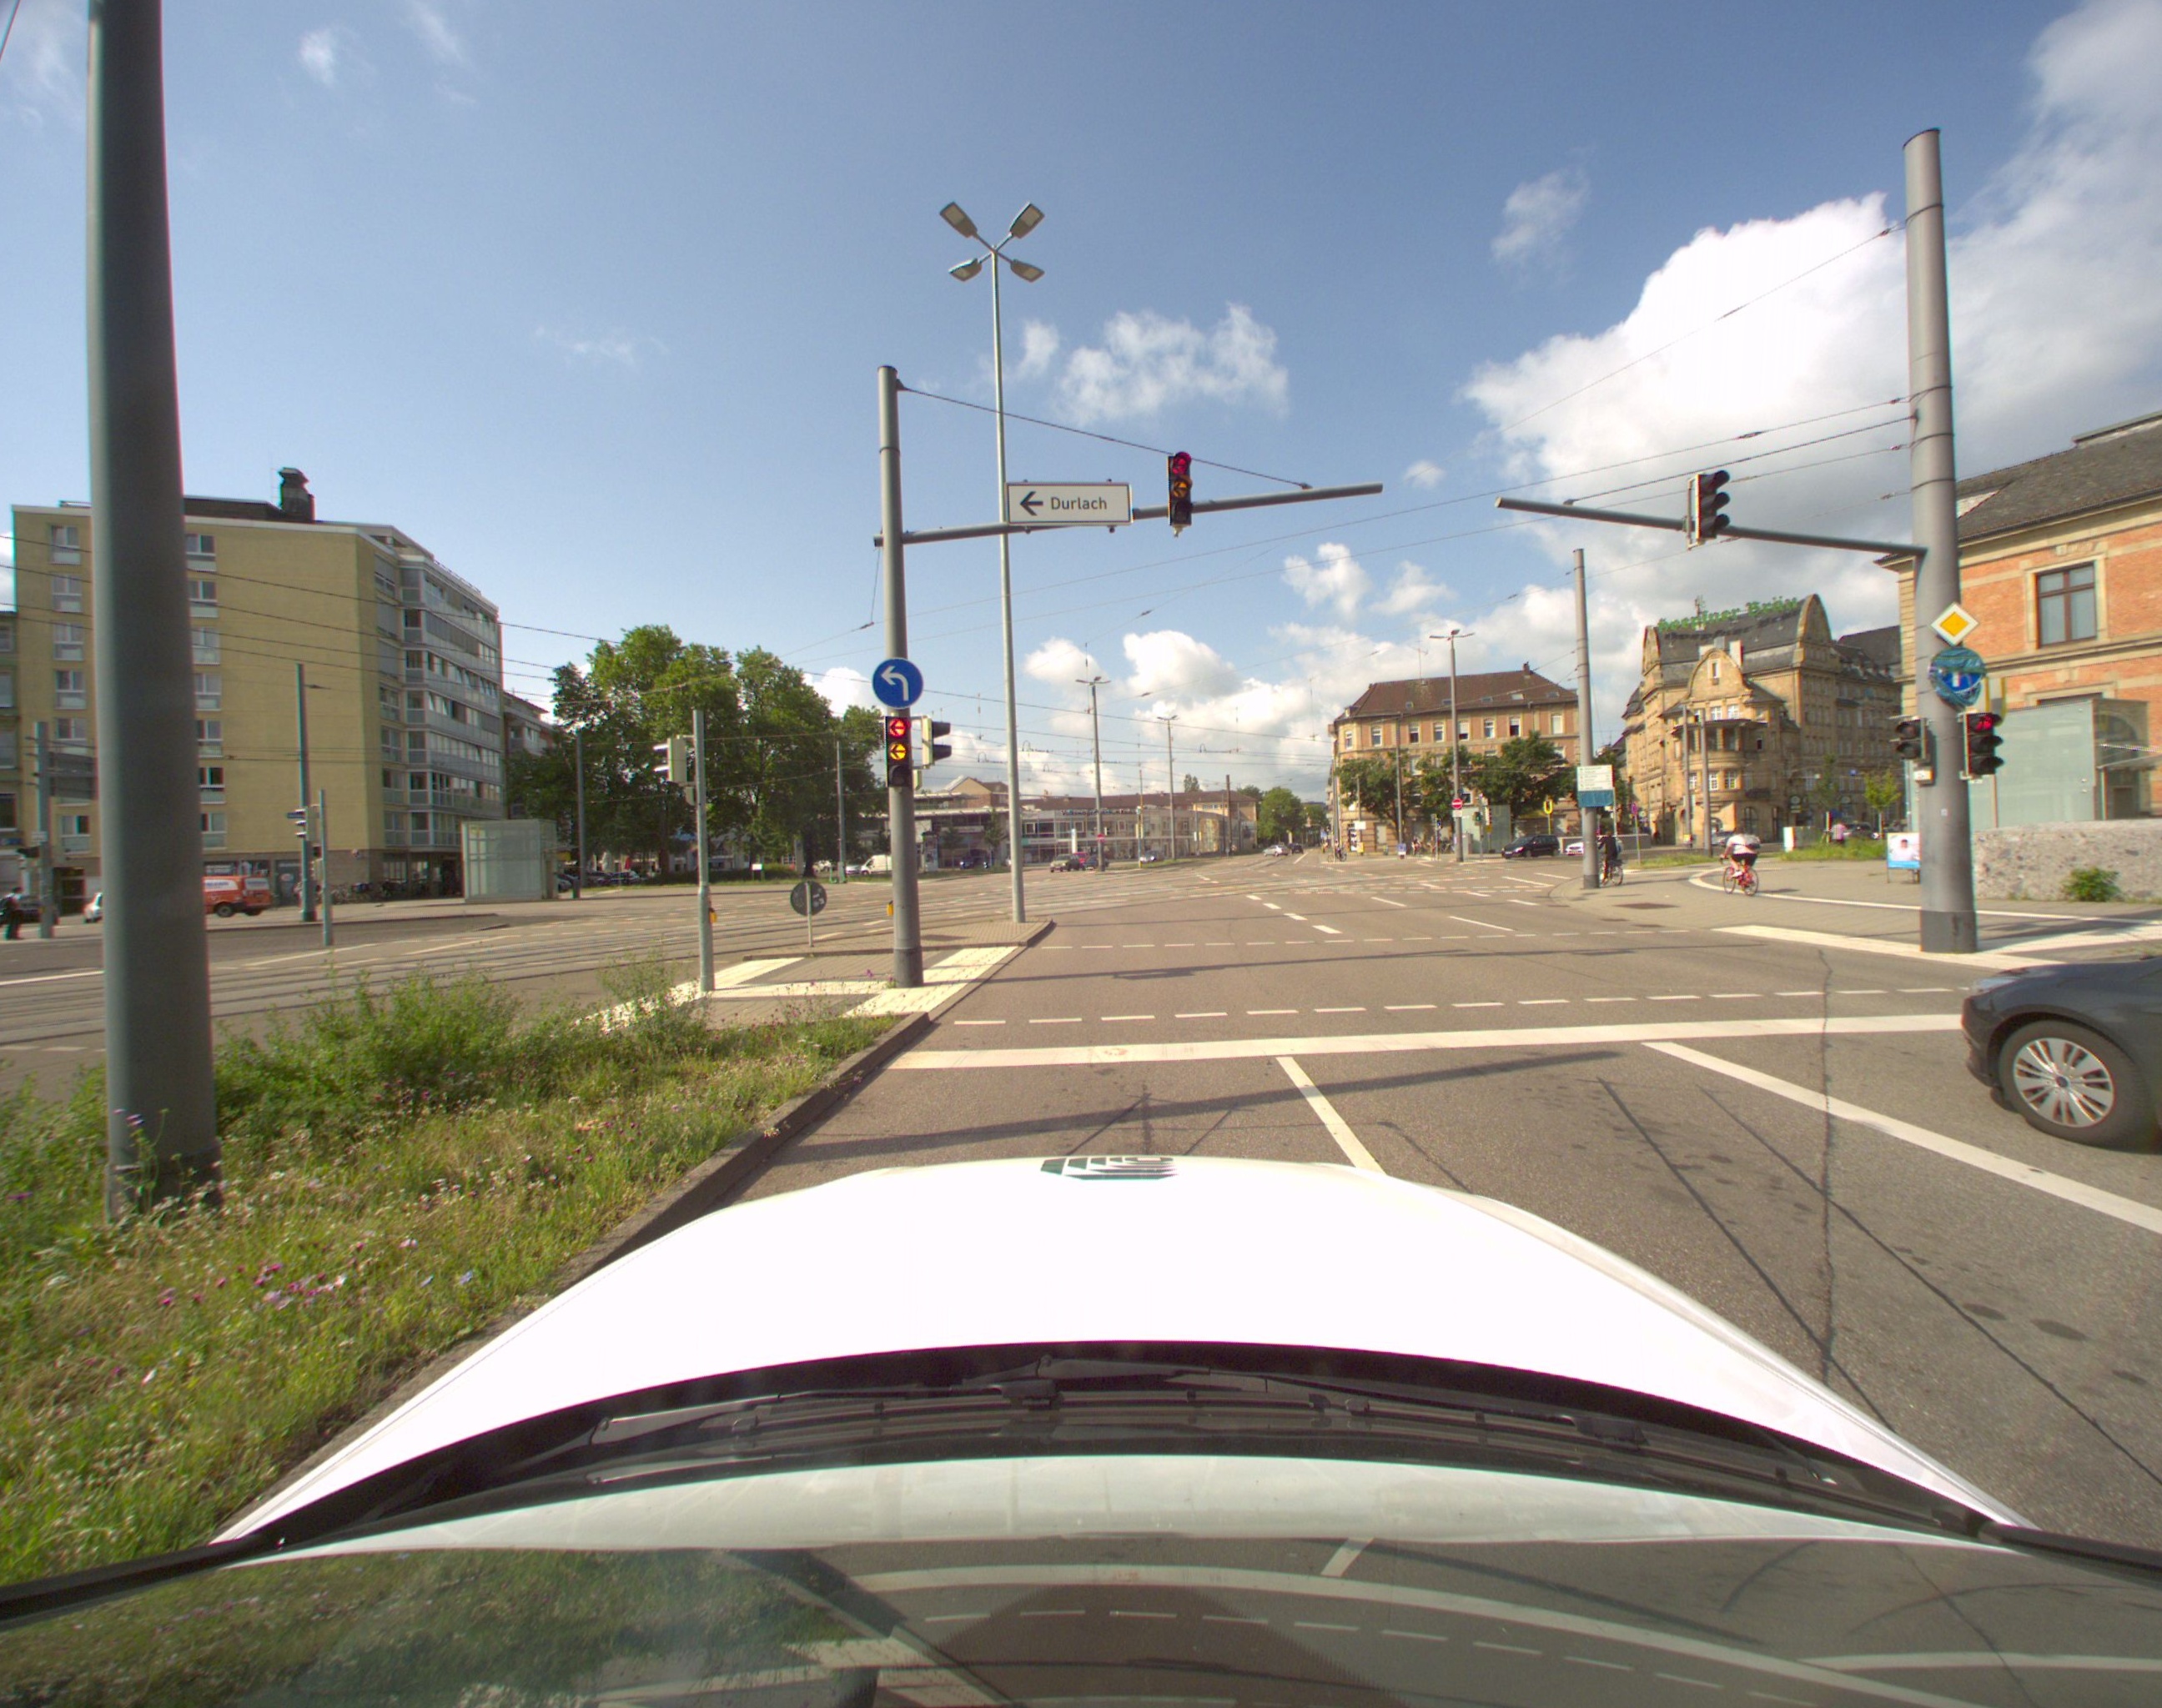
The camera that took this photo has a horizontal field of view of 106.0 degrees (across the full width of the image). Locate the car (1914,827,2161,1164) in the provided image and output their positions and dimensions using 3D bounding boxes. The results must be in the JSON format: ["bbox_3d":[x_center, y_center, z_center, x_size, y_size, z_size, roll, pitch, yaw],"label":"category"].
[{"bbox_3d":[5.771,0.669,2.695,1.760,1.528,4.257,2,0,2],"label":"car"}]

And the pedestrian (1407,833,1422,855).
[{"bbox_3d":[28.121,-0.814,68.690,0.865,1.810,0.884,0,-1,-10],"label":"pedestrian"}]

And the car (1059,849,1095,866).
[{"bbox_3d":[-0.295,0.316,71.768,1.978,1.519,4.018,-1,-1,18],"label":"car"}]

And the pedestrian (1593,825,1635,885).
[{"bbox_3d":[16.801,0.026,25.691,0.983,1.841,1.002,-1,-1,27],"label":"pedestrian"}]

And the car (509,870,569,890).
[{"bbox_3d":[-43.333,2.090,65.200,3.570,1.530,1.989,0,-1,-16],"label":"car"}]

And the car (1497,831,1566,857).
[{"bbox_3d":[30.951,-0.661,55.972,4.348,1.739,1.983,0,-1,-26],"label":"car"}]

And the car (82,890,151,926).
[{"bbox_3d":[-46.592,2.579,39.343,3.467,1.440,1.730,2,-1,34],"label":"car"}]

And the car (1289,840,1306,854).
[{"bbox_3d":[33.059,-1.047,124.341,1.977,2.013,4.020,-2,0,20],"label":"car"}]

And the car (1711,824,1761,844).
[{"bbox_3d":[57.503,-1.750,71.491,4.006,1.600,1.740,-2,0,-25],"label":"car"}]

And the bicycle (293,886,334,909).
[{"bbox_3d":[-45.207,2.571,47.986,1.643,1.272,0.528,3,-2,-17],"label":"bicycle"}]

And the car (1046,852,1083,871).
[{"bbox_3d":[-1.312,0.628,66.247,1.806,1.513,4.018,-1,-1,18],"label":"car"}]

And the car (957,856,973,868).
[{"bbox_3d":[-14.703,0.994,103.053,1.918,1.445,3.989,-2,0,-8],"label":"car"}]

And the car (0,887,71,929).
[{"bbox_3d":[-49.330,2.471,38.214,5.000,1.468,1.903,4,0,33],"label":"car"}]

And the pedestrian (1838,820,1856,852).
[{"bbox_3d":[37.482,-0.877,39.865,0.501,1.505,0.501,-2,0,-33],"label":"pedestrian"}]

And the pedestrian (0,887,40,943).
[{"bbox_3d":[-34.388,1.940,26.144,0.794,1.673,0.840,3,1,-17],"label":"pedestrian"}]

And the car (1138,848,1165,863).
[{"bbox_3d":[8.086,0.133,93.237,1.976,1.552,4.021,-2,0,21],"label":"car"}]

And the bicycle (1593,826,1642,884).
[{"bbox_3d":[16.833,0.030,25.619,0.996,1.725,2.483,-1,-1,27],"label":"bicycle"}]

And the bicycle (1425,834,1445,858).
[{"bbox_3d":[26.954,-0.593,62.066,0.727,1.777,1.636,-2,0,-2],"label":"bicycle"}]

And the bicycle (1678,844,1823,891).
[{"bbox_3d":[16.043,0.362,19.678,0.989,1.028,3.109,1,-2,1],"label":"bicycle"}]

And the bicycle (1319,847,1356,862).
[{"bbox_3d":[20.868,0.049,66.335,2.664,1.170,0.900,-2,0,-1],"label":"bicycle"}]

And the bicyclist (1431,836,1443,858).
[{"bbox_3d":[26.950,-0.534,61.715,0.571,1.671,0.656,-2,0,-2],"label":"bicyclist"}]

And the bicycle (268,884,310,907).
[{"bbox_3d":[-46.717,2.453,48.040,1.643,1.272,0.485,3,-2,-17],"label":"bicycle"}]

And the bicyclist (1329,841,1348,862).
[{"bbox_3d":[20.955,-0.192,66.328,1.190,1.658,0.785,-2,0,-1],"label":"bicyclist"}]

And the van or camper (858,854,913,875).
[{"bbox_3d":[-23.084,1.215,96.479,5.848,2.469,2.396,0,-1,5],"label":"van or camper"}]

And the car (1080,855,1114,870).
[{"bbox_3d":[1.334,0.668,65.781,1.608,1.161,4.018,-1,-1,18],"label":"car"}]

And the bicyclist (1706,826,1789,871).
[{"bbox_3d":[16.045,-0.114,19.647,0.987,1.028,1.215,1,-3,1],"label":"bicyclist"}]

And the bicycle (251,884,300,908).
[{"bbox_3d":[-46.882,2.449,47.422,1.892,1.272,0.484,4,0,-24],"label":"bicycle"}]

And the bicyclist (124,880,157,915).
[{"bbox_3d":[-49.301,2.266,42.682,0.826,1.745,0.709,-2,0,-12],"label":"bicyclist"}]

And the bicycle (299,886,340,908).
[{"bbox_3d":[-45.338,2.576,48.507,1.643,1.272,0.485,3,-2,-17],"label":"bicycle"}]

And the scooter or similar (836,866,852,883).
[{"bbox_3d":[-16.138,1.401,55.507,0.377,1.157,0.935,4,1,36],"label":"scooter or similar"}]

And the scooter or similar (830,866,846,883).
[{"bbox_3d":[-16.647,1.408,55.798,0.934,1.157,0.377,3,1,-42],"label":"scooter or similar"}]

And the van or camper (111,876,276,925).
[{"bbox_3d":[-39.538,2.024,36.433,4.522,1.914,2.002,-1,0,-20],"label":"van or camper"}]

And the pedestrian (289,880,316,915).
[{"bbox_3d":[-38.886,2.173,40.689,0.789,1.760,0.984,3,-4,-36],"label":"pedestrian"}]

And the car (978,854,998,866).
[{"bbox_3d":[-11.744,0.756,102.703,1.913,1.445,4.001,-2,0,1],"label":"car"}]

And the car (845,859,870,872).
[{"bbox_3d":[-28.617,1.433,104.394,2.062,1.604,3.997,-2,0,-2],"label":"car"}]

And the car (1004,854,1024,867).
[{"bbox_3d":[-8.632,0.772,104.687,1.911,1.552,4.004,-2,0,3],"label":"car"}]

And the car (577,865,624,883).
[{"bbox_3d":[-47.035,1.931,79.803,3.611,1.594,1.659,-2,0,-13],"label":"car"}]

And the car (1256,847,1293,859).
[{"bbox_3d":[25.341,-0.101,106.511,4.425,1.464,1.792,-1,-1,44],"label":"car"}]

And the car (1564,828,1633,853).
[{"bbox_3d":[37.275,-0.959,58.668,4.693,1.595,1.983,-3,0,-25],"label":"car"}]
